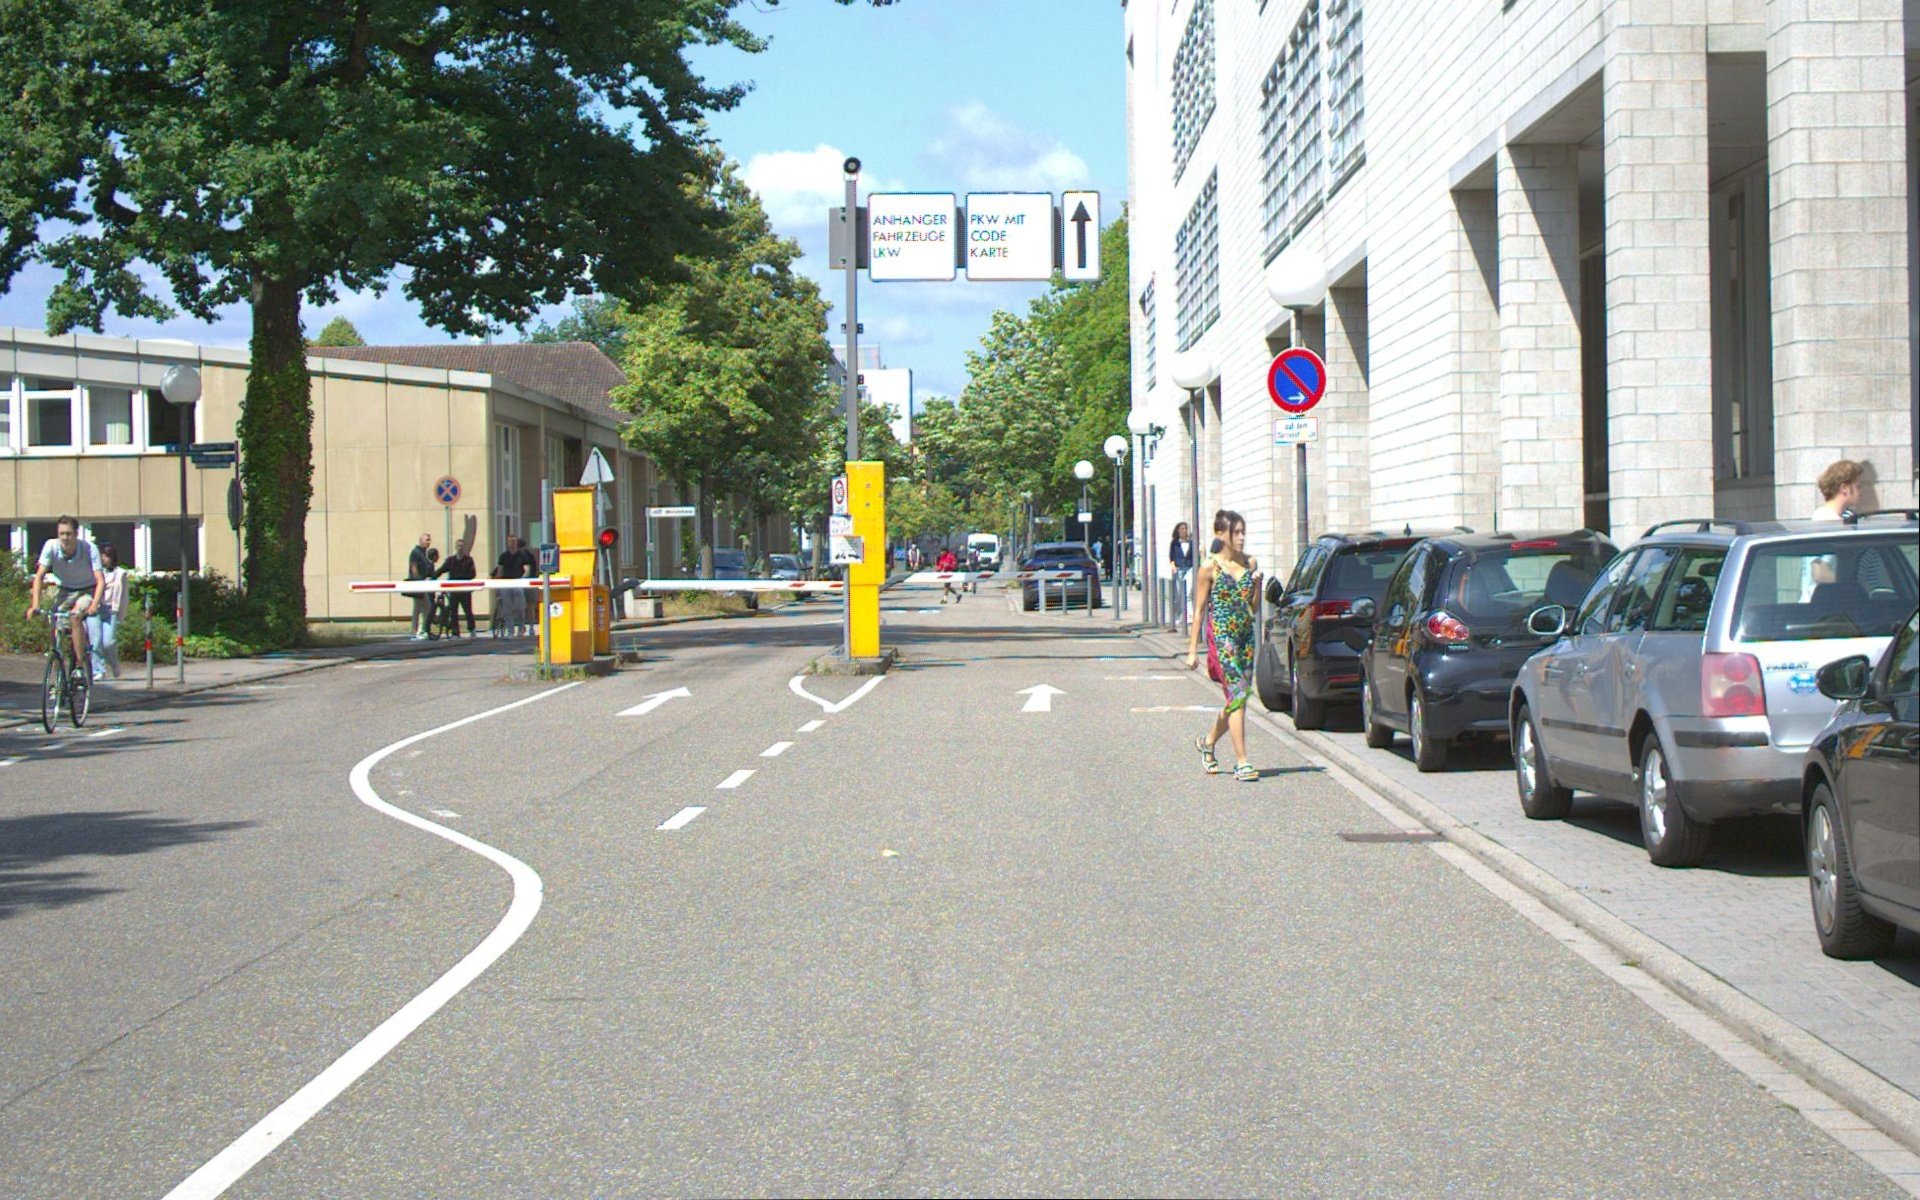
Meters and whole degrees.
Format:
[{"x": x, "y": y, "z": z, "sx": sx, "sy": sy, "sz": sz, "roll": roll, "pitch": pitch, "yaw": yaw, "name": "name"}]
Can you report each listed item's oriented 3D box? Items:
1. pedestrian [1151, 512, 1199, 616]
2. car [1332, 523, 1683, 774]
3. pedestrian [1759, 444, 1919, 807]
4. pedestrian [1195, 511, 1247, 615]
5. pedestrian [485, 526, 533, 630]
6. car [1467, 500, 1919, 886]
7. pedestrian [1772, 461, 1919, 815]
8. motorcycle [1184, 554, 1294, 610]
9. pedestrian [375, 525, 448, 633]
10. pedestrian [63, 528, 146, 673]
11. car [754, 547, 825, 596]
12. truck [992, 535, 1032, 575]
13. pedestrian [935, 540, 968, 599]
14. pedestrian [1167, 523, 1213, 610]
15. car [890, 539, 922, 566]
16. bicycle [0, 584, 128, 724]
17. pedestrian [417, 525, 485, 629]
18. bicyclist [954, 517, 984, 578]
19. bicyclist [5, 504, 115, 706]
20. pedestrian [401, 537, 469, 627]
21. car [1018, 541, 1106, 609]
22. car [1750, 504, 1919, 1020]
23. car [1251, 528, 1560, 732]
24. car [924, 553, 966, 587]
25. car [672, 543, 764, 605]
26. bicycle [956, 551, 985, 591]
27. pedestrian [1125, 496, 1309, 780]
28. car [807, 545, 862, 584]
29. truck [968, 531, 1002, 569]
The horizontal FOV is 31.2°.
[{"x": 3.765, "y": -0.639, "z": 60.234, "sx": 0.694, "sy": 1.774, "sz": 1.086, "roll": -2, "pitch": 1, "yaw": -1, "name": "pedestrian"}, {"x": 3.506, "y": 0.265, "z": 22.653, "sx": 1.614, "sy": 1.491, "sz": 4.007, "roll": -1, "pitch": 1, "yaw": -1, "name": "car"}, {"x": 4.771, "y": 0.133, "z": 18.572, "sx": 0.784, "sy": 1.919, "sz": 0.593, "roll": 0, "pitch": 1, "yaw": 23, "name": "pedestrian"}, {"x": 4.581, "y": -0.659, "z": 60.303, "sx": 0.767, "sy": 1.774, "sz": 0.910, "roll": -2, "pitch": 1, "yaw": -1, "name": "pedestrian"}, {"x": -7.941, "y": -0.397, "z": 60.554, "sx": 0.705, "sy": 1.803, "sz": 1.001, "roll": -1, "pitch": 1, "yaw": -1, "name": "pedestrian"}, {"x": 3.712, "y": 0.324, "z": 16.224, "sx": 1.719, "sy": 1.524, "sz": 4.567, "roll": -2, "pitch": 1, "yaw": -2, "name": "car"}, {"x": 4.989, "y": 0.202, "z": 19.157, "sx": 0.783, "sy": 1.919, "sz": 0.733, "roll": 0, "pitch": 1, "yaw": 23, "name": "pedestrian"}, {"x": 5.587, "y": -0.355, "z": 68.829, "sx": 2.123, "sy": 1.019, "sz": 0.660, "roll": -3, "pitch": -1, "yaw": 2, "name": "motorcycle"}, {"x": -9.881, "y": -0.375, "z": 61.928, "sx": 0.886, "sy": 1.919, "sz": 1.004, "roll": 0, "pitch": 0, "yaw": 26, "name": "pedestrian"}, {"x": -9.748, "y": -0.001, "z": 39.206, "sx": 0.713, "sy": 1.621, "sz": 0.883, "roll": -1, "pitch": 1, "yaw": -1, "name": "pedestrian"}, {"x": -5.479, "y": -0.937, "z": 110.928, "sx": 1.993, "sy": 1.540, "sz": 4.212, "roll": 0, "pitch": 1, "yaw": 1, "name": "car"}, {"x": 2.811, "y": -2.434, "z": 186.541, "sx": 1.993, "sy": 2.007, "sz": 4.000, "roll": -1, "pitch": -1, "yaw": -1, "name": "truck"}, {"x": -0.241, "y": -0.844, "z": 95.941, "sx": 0.894, "sy": 1.627, "sz": 0.887, "roll": 0, "pitch": 0, "yaw": -1, "name": "pedestrian"}, {"x": 4.394, "y": -0.640, "z": 65.654, "sx": 0.741, "sy": 1.627, "sz": 0.888, "roll": -2, "pitch": 1, "yaw": -1, "name": "pedestrian"}, {"x": -3.836, "y": -3.368, "z": 243.589, "sx": 1.994, "sy": 1.714, "sz": 3.999, "roll": -1, "pitch": -1, "yaw": 3, "name": "car"}, {"x": -7.914, "y": 0.450, "z": 30.130, "sx": 0.692, "sy": 1.167, "sz": 2.210, "roll": -1, "pitch": 1, "yaw": 0, "name": "bicycle"}, {"x": -8.978, "y": -0.416, "z": 60.639, "sx": 1.056, "sy": 1.809, "sz": 0.806, "roll": -1, "pitch": 1, "yaw": -1, "name": "pedestrian"}, {"x": 0.316, "y": -1.842, "z": 120.884, "sx": 0.987, "sy": 2.125, "sz": 1.036, "roll": -1, "pitch": -1, "yaw": 0, "name": "bicyclist"}, {"x": -7.853, "y": 0.037, "z": 30.024, "sx": 0.692, "sy": 1.731, "sz": 0.919, "roll": -1, "pitch": 0, "yaw": 0, "name": "bicyclist"}, {"x": -9.604, "y": -0.321, "z": 62.871, "sx": 0.886, "sy": 1.627, "sz": 0.895, "roll": 0, "pitch": 0, "yaw": 26, "name": "pedestrian"}, {"x": 2.391, "y": -0.604, "z": 81.503, "sx": 1.993, "sy": 1.540, "sz": 4.212, "roll": -1, "pitch": 1, "yaw": 1, "name": "car"}, {"x": 3.689, "y": 0.461, "z": 10.411, "sx": 1.719, "sy": 1.524, "sz": 4.000, "roll": -1, "pitch": 1, "yaw": 1, "name": "car"}, {"x": 3.414, "y": 0.184, "z": 27.145, "sx": 1.866, "sy": 1.459, "sz": 4.520, "roll": -1, "pitch": 1, "yaw": 0, "name": "car"}, {"x": -0.798, "y": -1.611, "z": 185.269, "sx": 1.994, "sy": 1.714, "sz": 3.999, "roll": -1, "pitch": -1, "yaw": 3, "name": "car"}, {"x": -6.243, "y": -0.694, "z": 88.988, "sx": 1.993, "sy": 1.540, "sz": 4.212, "roll": 0, "pitch": 1, "yaw": 1, "name": "car"}, {"x": 0.351, "y": -0.998, "z": 120.620, "sx": 0.987, "sy": 1.311, "sz": 2.964, "roll": -1, "pitch": -1, "yaw": 0, "name": "bicycle"}, {"x": 1.594, "y": 0.224, "z": 21.414, "sx": 0.623, "sy": 1.711, "sz": 1.040, "roll": -1, "pitch": 1, "yaw": -32, "name": "pedestrian"}, {"x": -5.057, "y": -1.450, "z": 139.060, "sx": 1.993, "sy": 1.540, "sz": 4.212, "roll": 0, "pitch": 1, "yaw": 1, "name": "car"}, {"x": 1.582, "y": -3.151, "z": 216.840, "sx": 1.993, "sy": 2.263, "sz": 4.616, "roll": -1, "pitch": -1, "yaw": -1, "name": "truck"}]
